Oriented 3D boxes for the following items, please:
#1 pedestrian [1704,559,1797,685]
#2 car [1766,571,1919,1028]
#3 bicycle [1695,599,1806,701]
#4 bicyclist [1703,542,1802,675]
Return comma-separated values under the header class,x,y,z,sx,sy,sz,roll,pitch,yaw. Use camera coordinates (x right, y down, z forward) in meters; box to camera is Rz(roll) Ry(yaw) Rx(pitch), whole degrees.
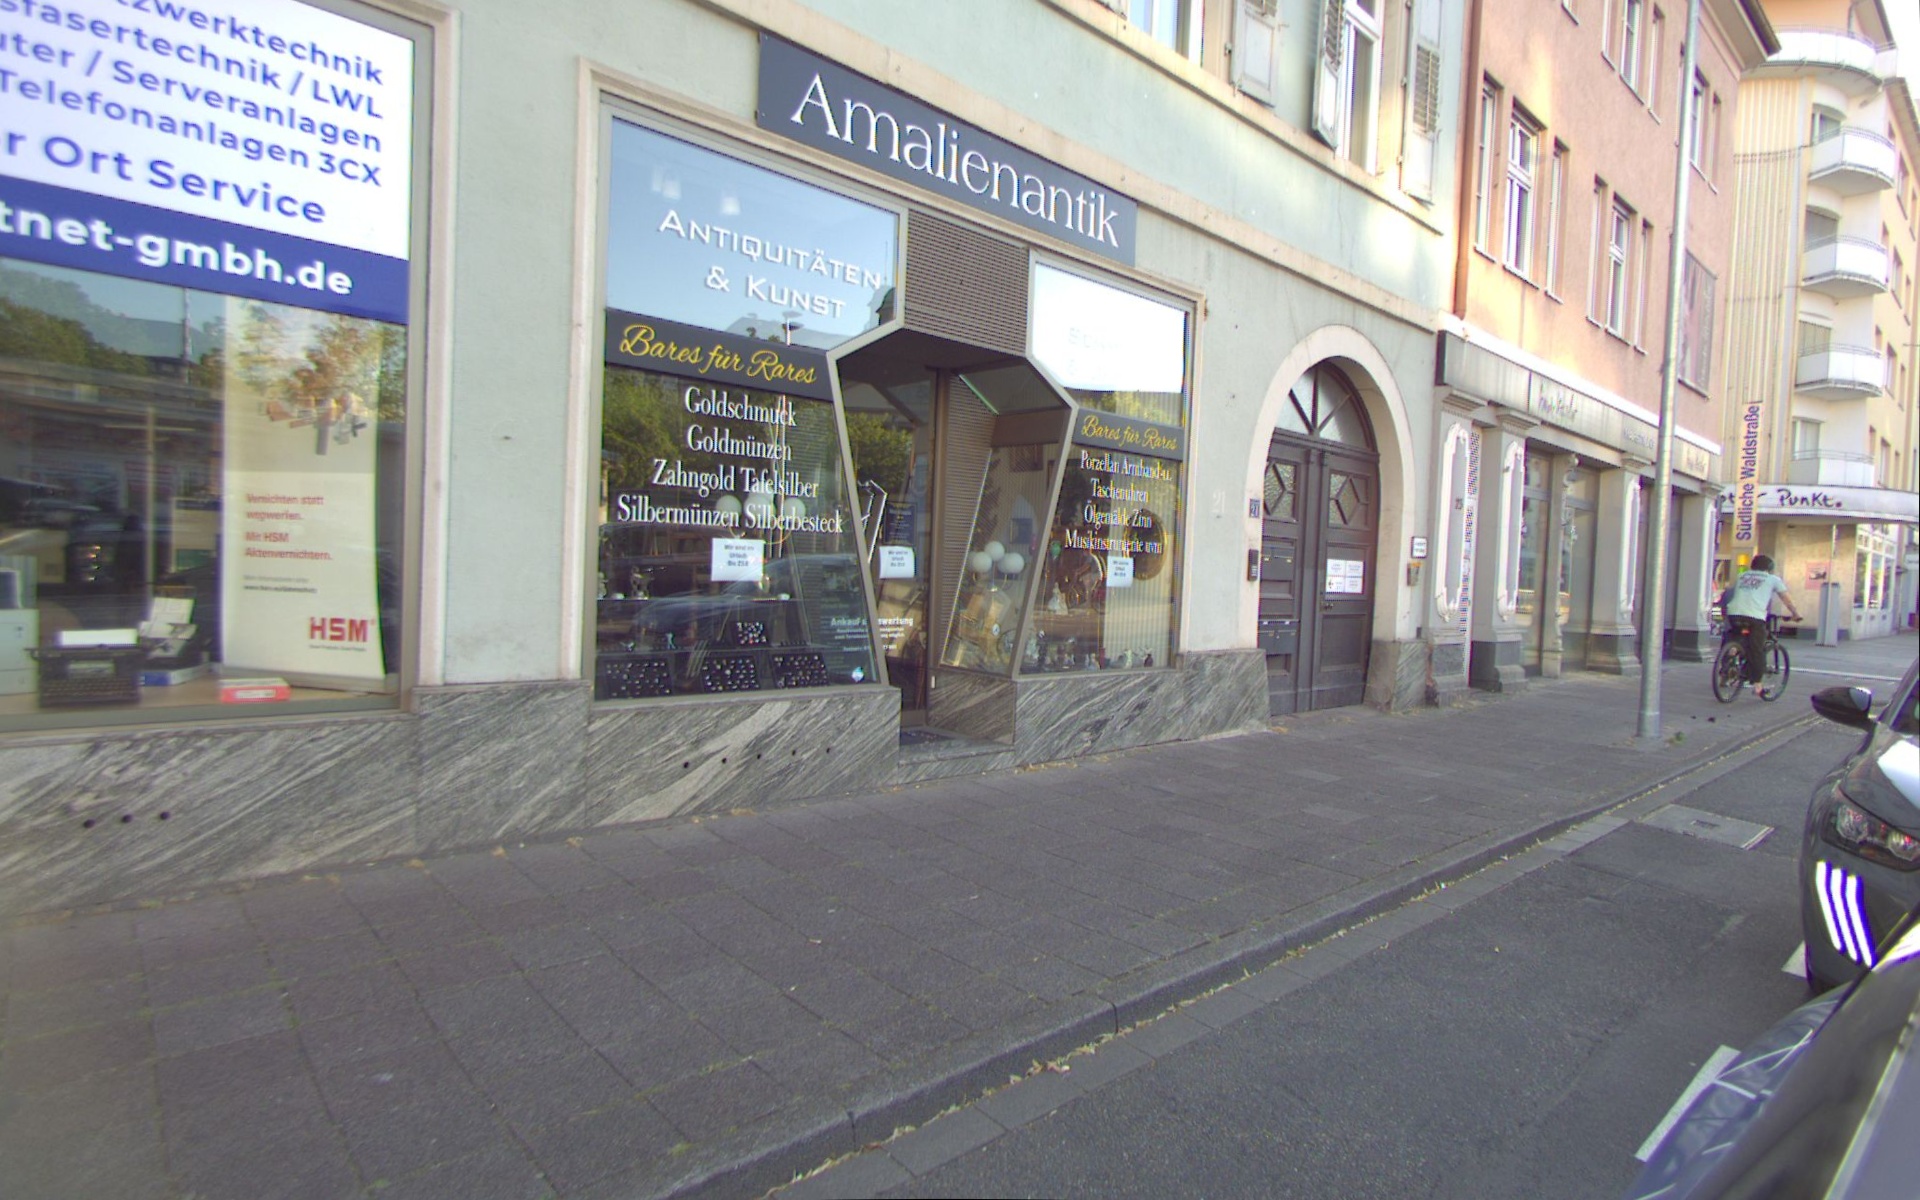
class,x,y,z,sx,sy,sz,roll,pitch,yaw
pedestrian,11.025,0.278,14.117,0.857,1.662,0.824,0,3,-43
car,5.075,0.663,4.337,4.375,1.465,1.906,0,2,-43
bicycle,9.627,0.567,12.305,1.863,1.121,0.691,0,2,-42
bicyclist,9.620,0.086,12.279,0.884,1.526,0.723,1,2,-40
